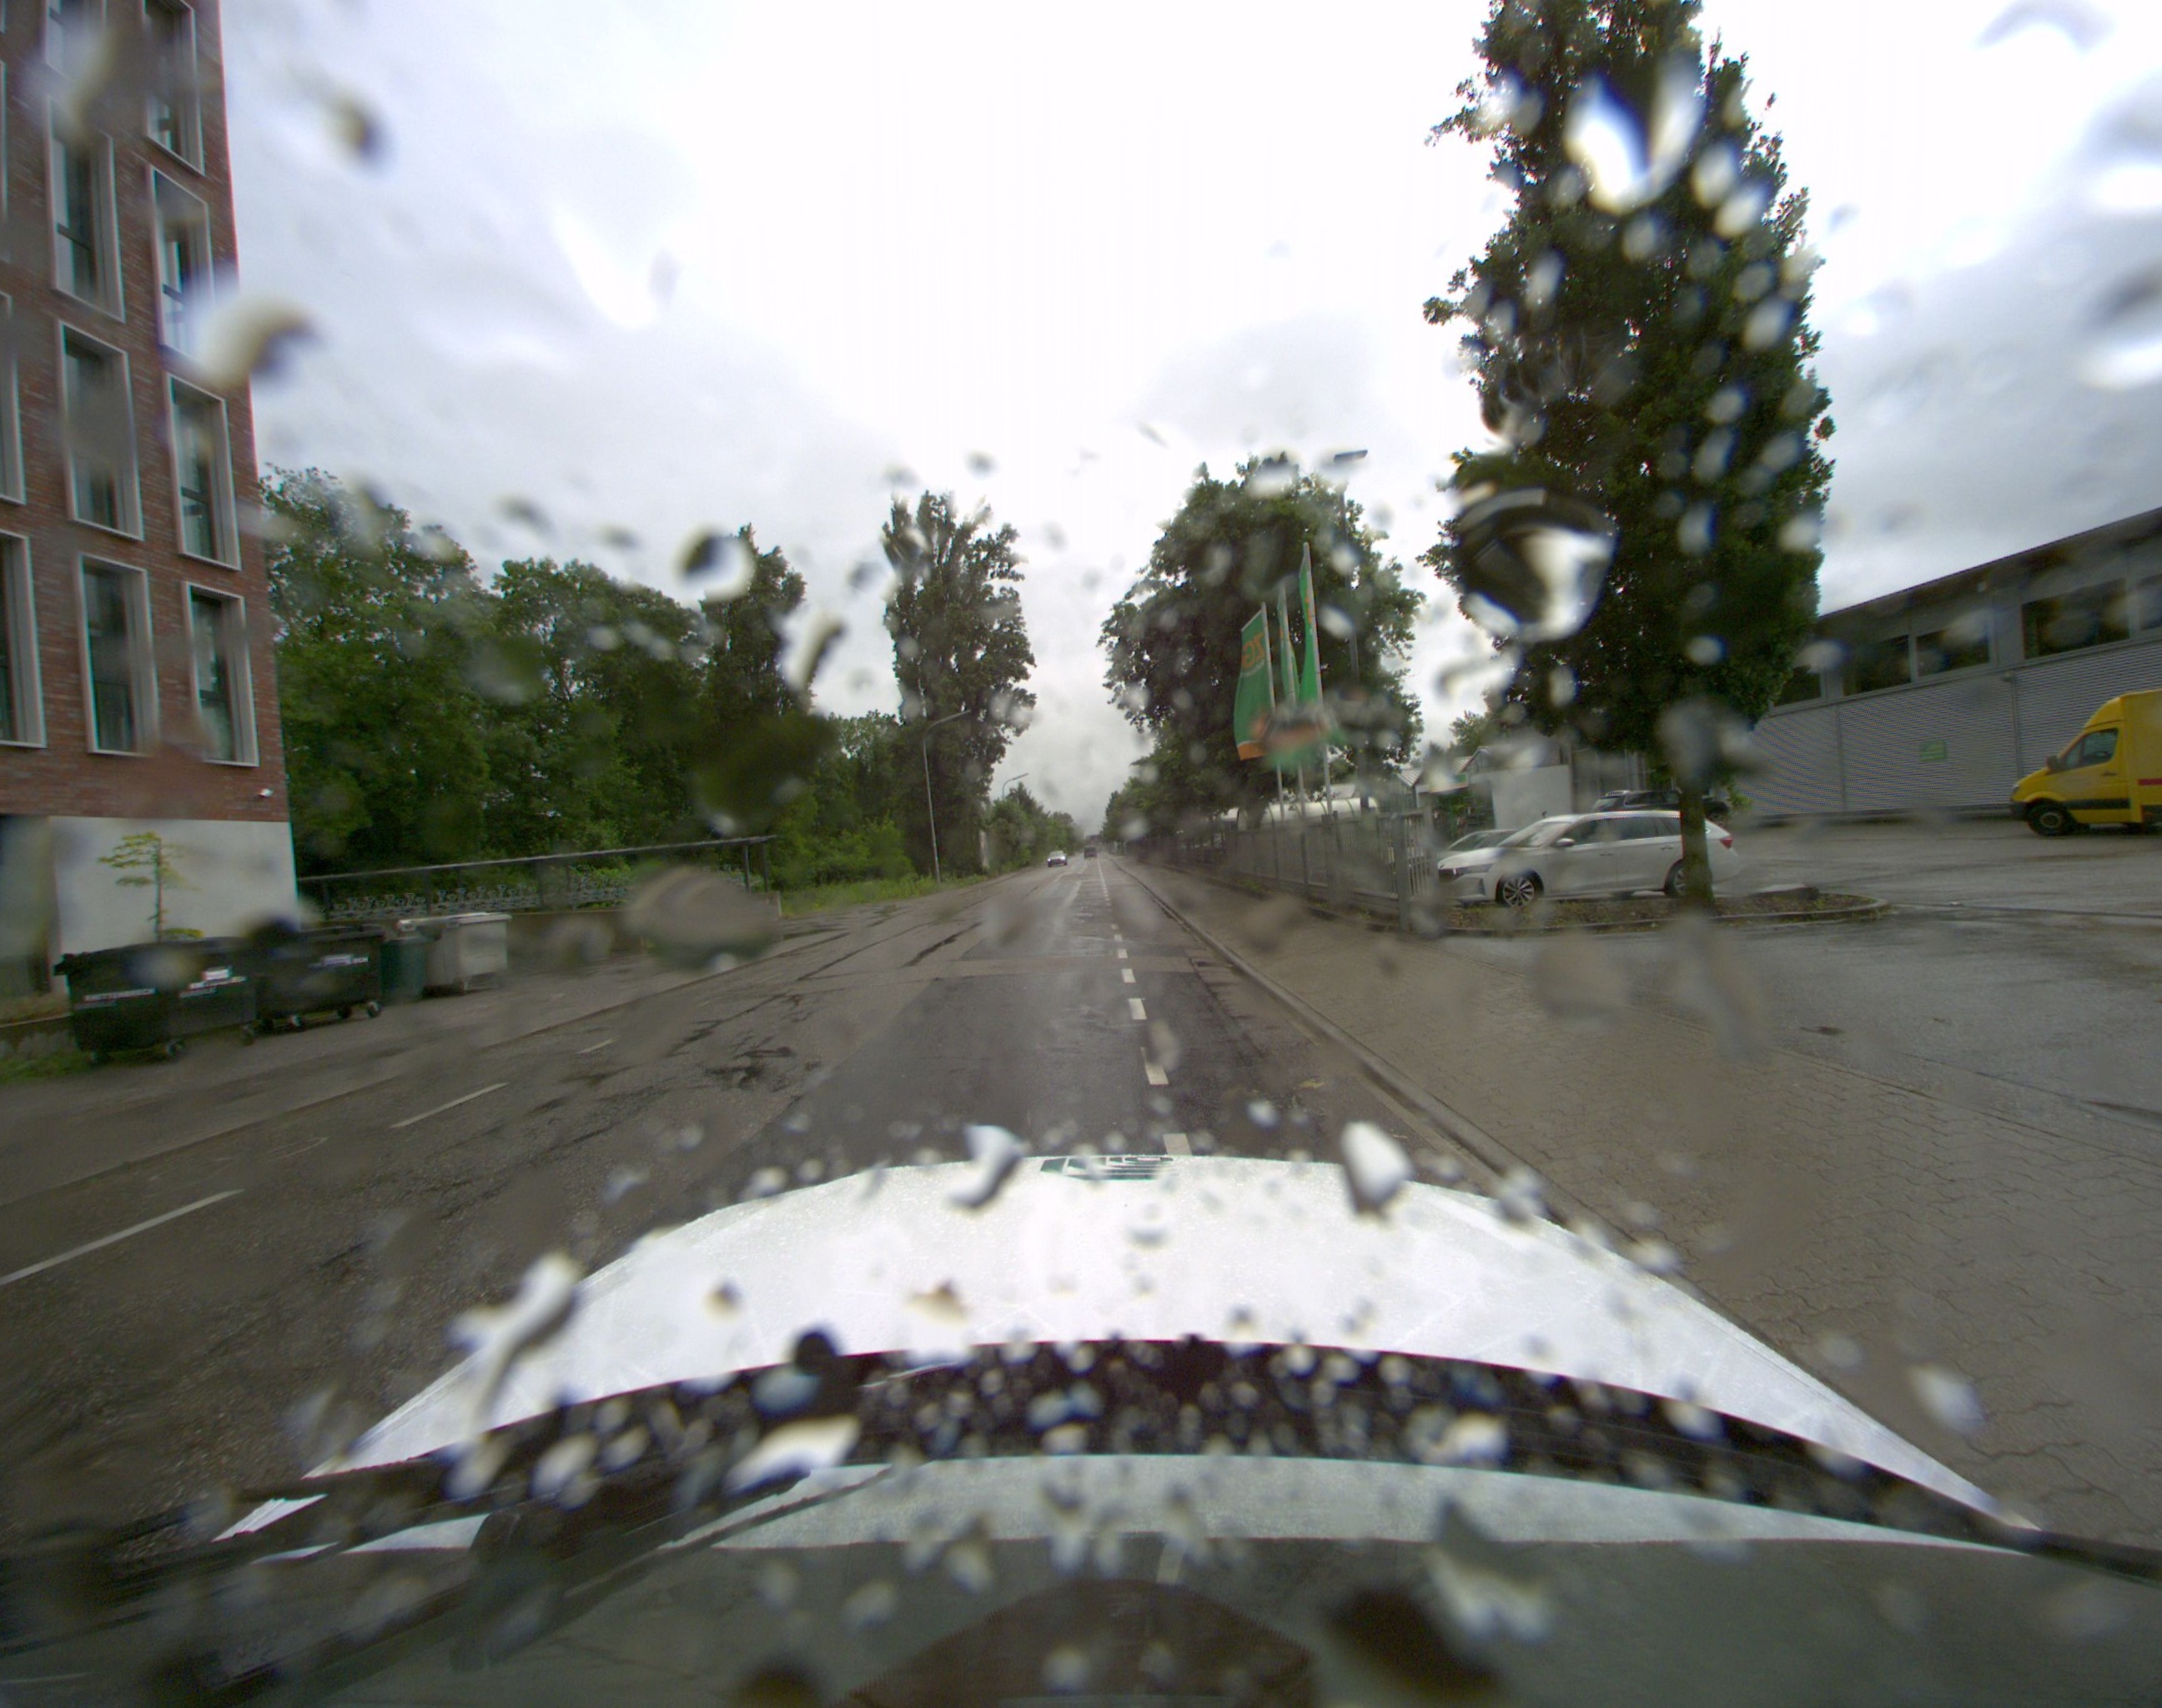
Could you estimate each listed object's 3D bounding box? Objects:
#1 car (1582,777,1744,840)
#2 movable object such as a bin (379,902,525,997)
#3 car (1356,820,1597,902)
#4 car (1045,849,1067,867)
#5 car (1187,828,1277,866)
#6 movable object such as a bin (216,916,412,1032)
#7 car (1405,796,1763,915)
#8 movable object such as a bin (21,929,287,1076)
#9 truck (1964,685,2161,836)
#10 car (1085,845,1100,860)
[{"bbox_3d":[21.399,-1.641,30.090,4.345,1.832,2.065,-6,0,2],"label":"car"},{"bbox_3d":[-10.552,1.573,13.743,1.291,1.332,1.358,-5,0,0],"label":"movable object such as a bin"},{"bbox_3d":[7.689,0.132,16.067,3.926,1.256,1.618,-4,0,-1],"label":"car"},{"bbox_3d":[-2.485,0.354,80.568,1.727,1.450,4.383,-8,0,2],"label":"car"},{"bbox_3d":[7.948,-0.372,43.087,4.204,1.618,1.820,-5,0,-7],"label":"car"},{"bbox_3d":[-10.512,1.624,11.216,1.362,1.308,1.457,-5,0,23],"label":"movable object such as a bin"},{"bbox_3d":[8.090,0.020,13.426,4.689,1.462,1.890,-5,0,-1],"label":"car"},{"bbox_3d":[-10.515,1.636,9.350,1.294,1.308,1.446,-5,0,-5],"label":"movable object such as a bin"},{"bbox_3d":[20.418,-1.809,14.132,2.291,2.659,7.425,-6,0,4],"label":"truck"},{"bbox_3d":[1.663,-0.149,117.750,1.987,1.910,4.200,-6,-1,0],"label":"car"}]
